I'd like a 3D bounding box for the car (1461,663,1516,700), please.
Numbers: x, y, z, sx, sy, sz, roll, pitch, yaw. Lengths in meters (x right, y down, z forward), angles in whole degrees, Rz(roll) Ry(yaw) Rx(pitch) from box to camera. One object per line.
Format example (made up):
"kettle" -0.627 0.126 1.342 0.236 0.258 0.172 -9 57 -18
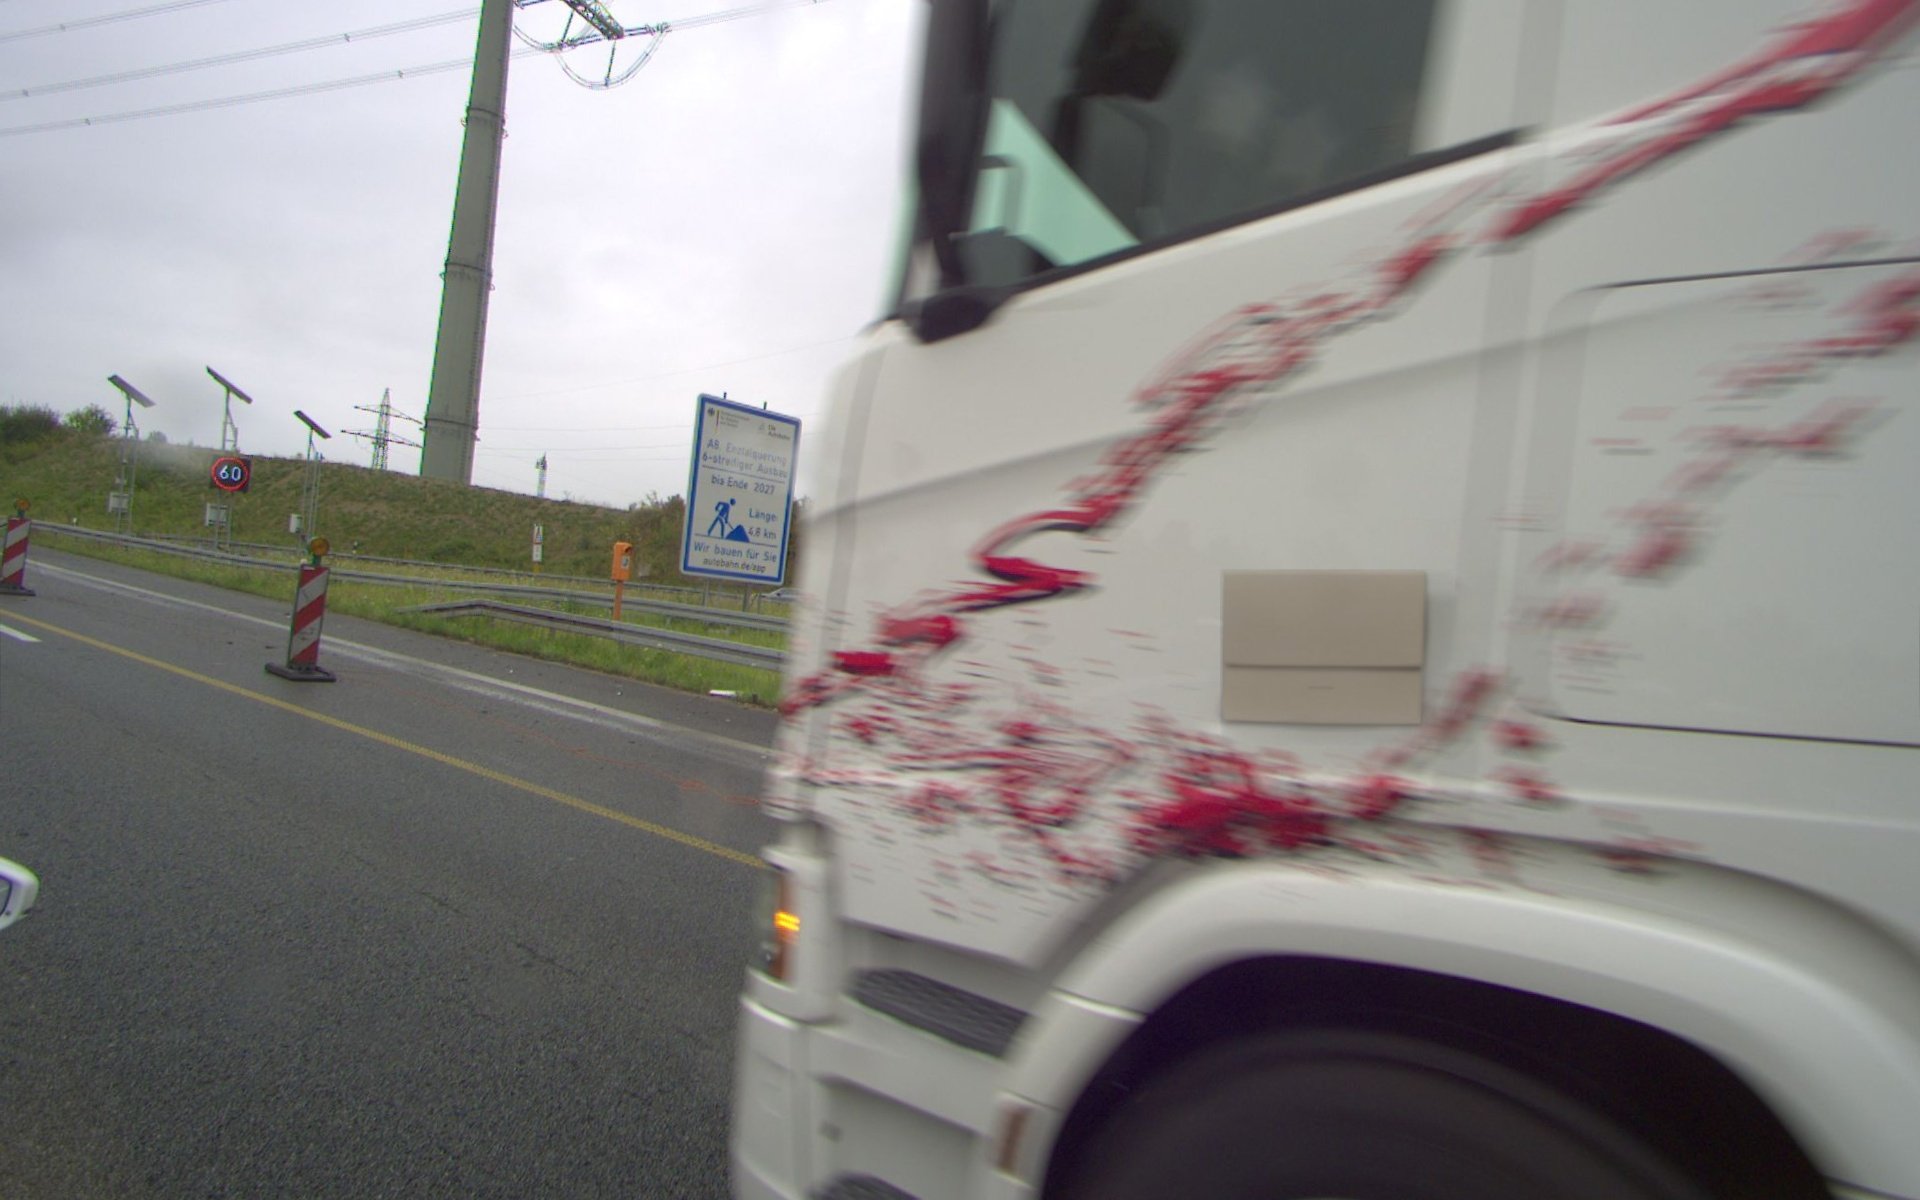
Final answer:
"car" 25.758 3.938 49.145 1.964 1.466 4.590 7 0 25

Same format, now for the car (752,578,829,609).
"car" -9.134 -0.360 54.125 3.849 1.175 1.481 7 1 -18

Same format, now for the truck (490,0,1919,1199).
"truck" 1.758 -0.137 1.740 3.963 3.936 2.650 6 -2 31
